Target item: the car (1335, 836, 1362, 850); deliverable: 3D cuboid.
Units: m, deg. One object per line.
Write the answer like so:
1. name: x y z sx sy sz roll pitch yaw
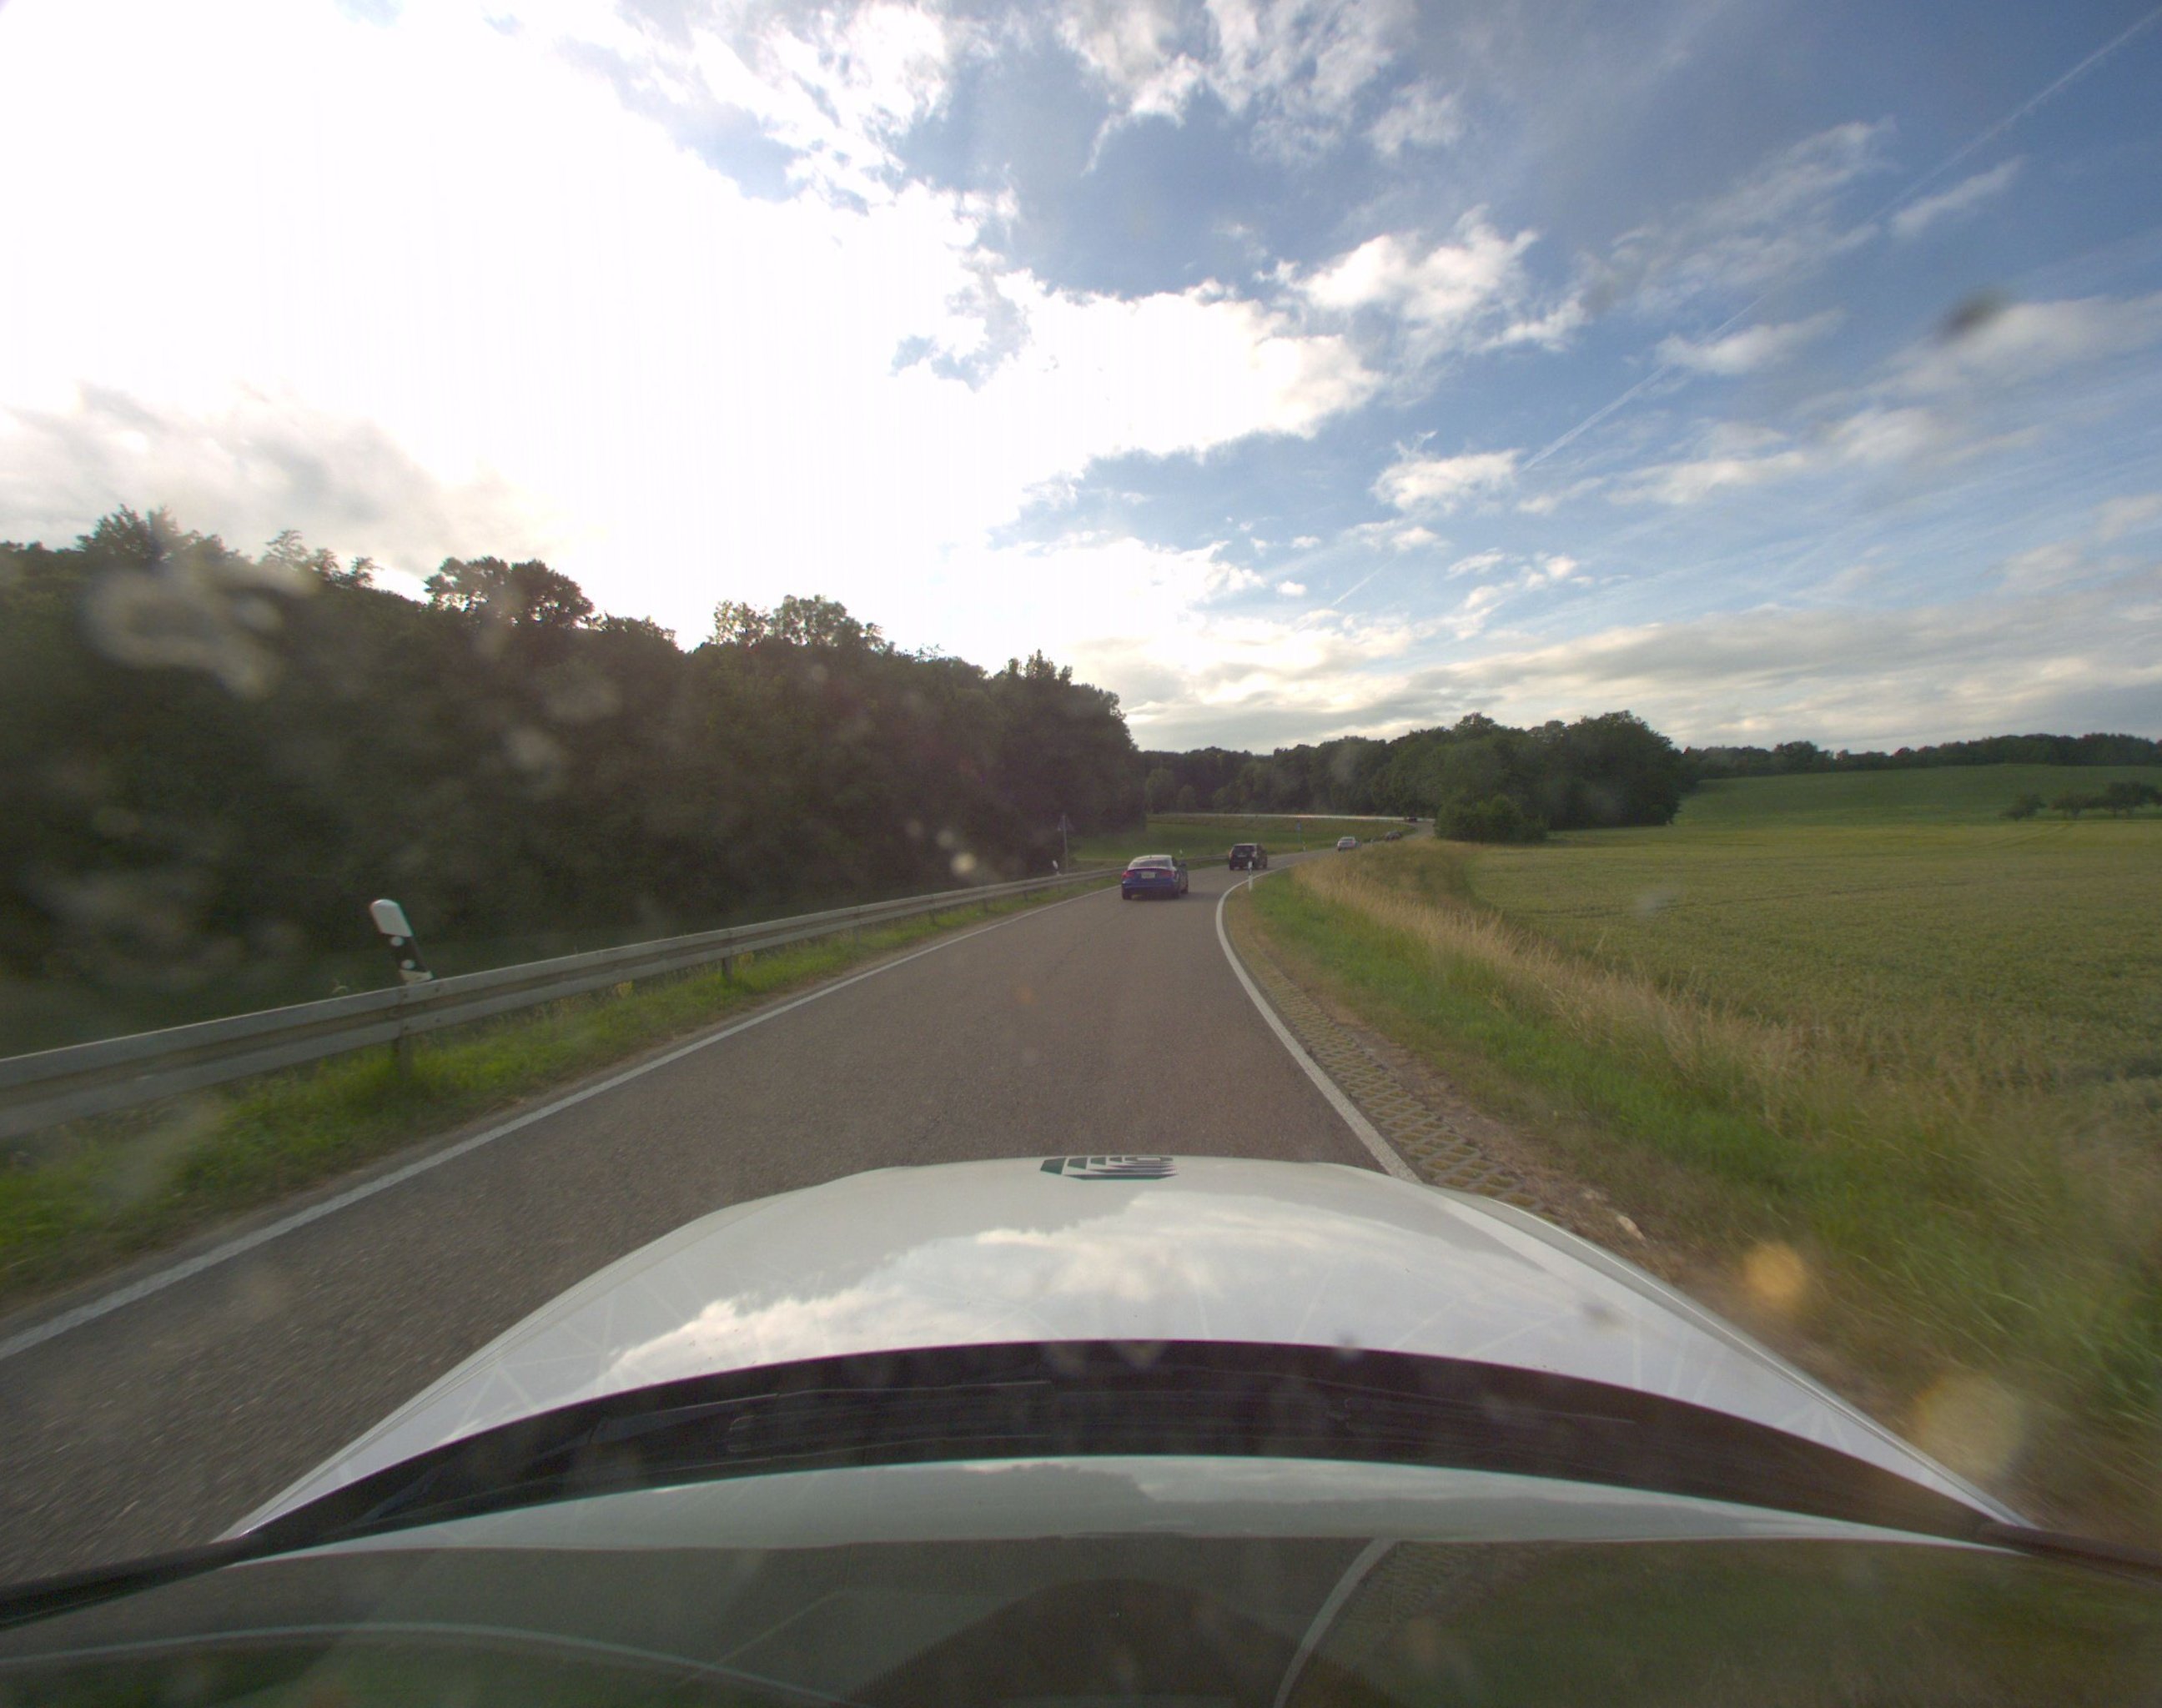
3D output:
1. car: 28.070 -1.176 85.417 1.666 1.376 4.026 -3 -1 33

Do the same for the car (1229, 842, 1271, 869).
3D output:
1. car: 10.589 0.056 50.783 1.846 1.568 4.022 0 1 22

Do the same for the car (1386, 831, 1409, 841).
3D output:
1. car: 41.110 -2.345 105.867 3.319 1.227 1.457 -3 -1 -44

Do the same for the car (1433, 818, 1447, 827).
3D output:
1. car: 72.350 -6.431 164.037 1.978 1.678 4.197 -2 2 16

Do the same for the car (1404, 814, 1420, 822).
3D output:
1. car: 80.239 -8.725 197.449 1.991 1.771 3.992 -3 2 -7

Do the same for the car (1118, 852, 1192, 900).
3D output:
1. car: 2.526 0.665 26.821 1.806 1.339 4.365 -2 0 12
